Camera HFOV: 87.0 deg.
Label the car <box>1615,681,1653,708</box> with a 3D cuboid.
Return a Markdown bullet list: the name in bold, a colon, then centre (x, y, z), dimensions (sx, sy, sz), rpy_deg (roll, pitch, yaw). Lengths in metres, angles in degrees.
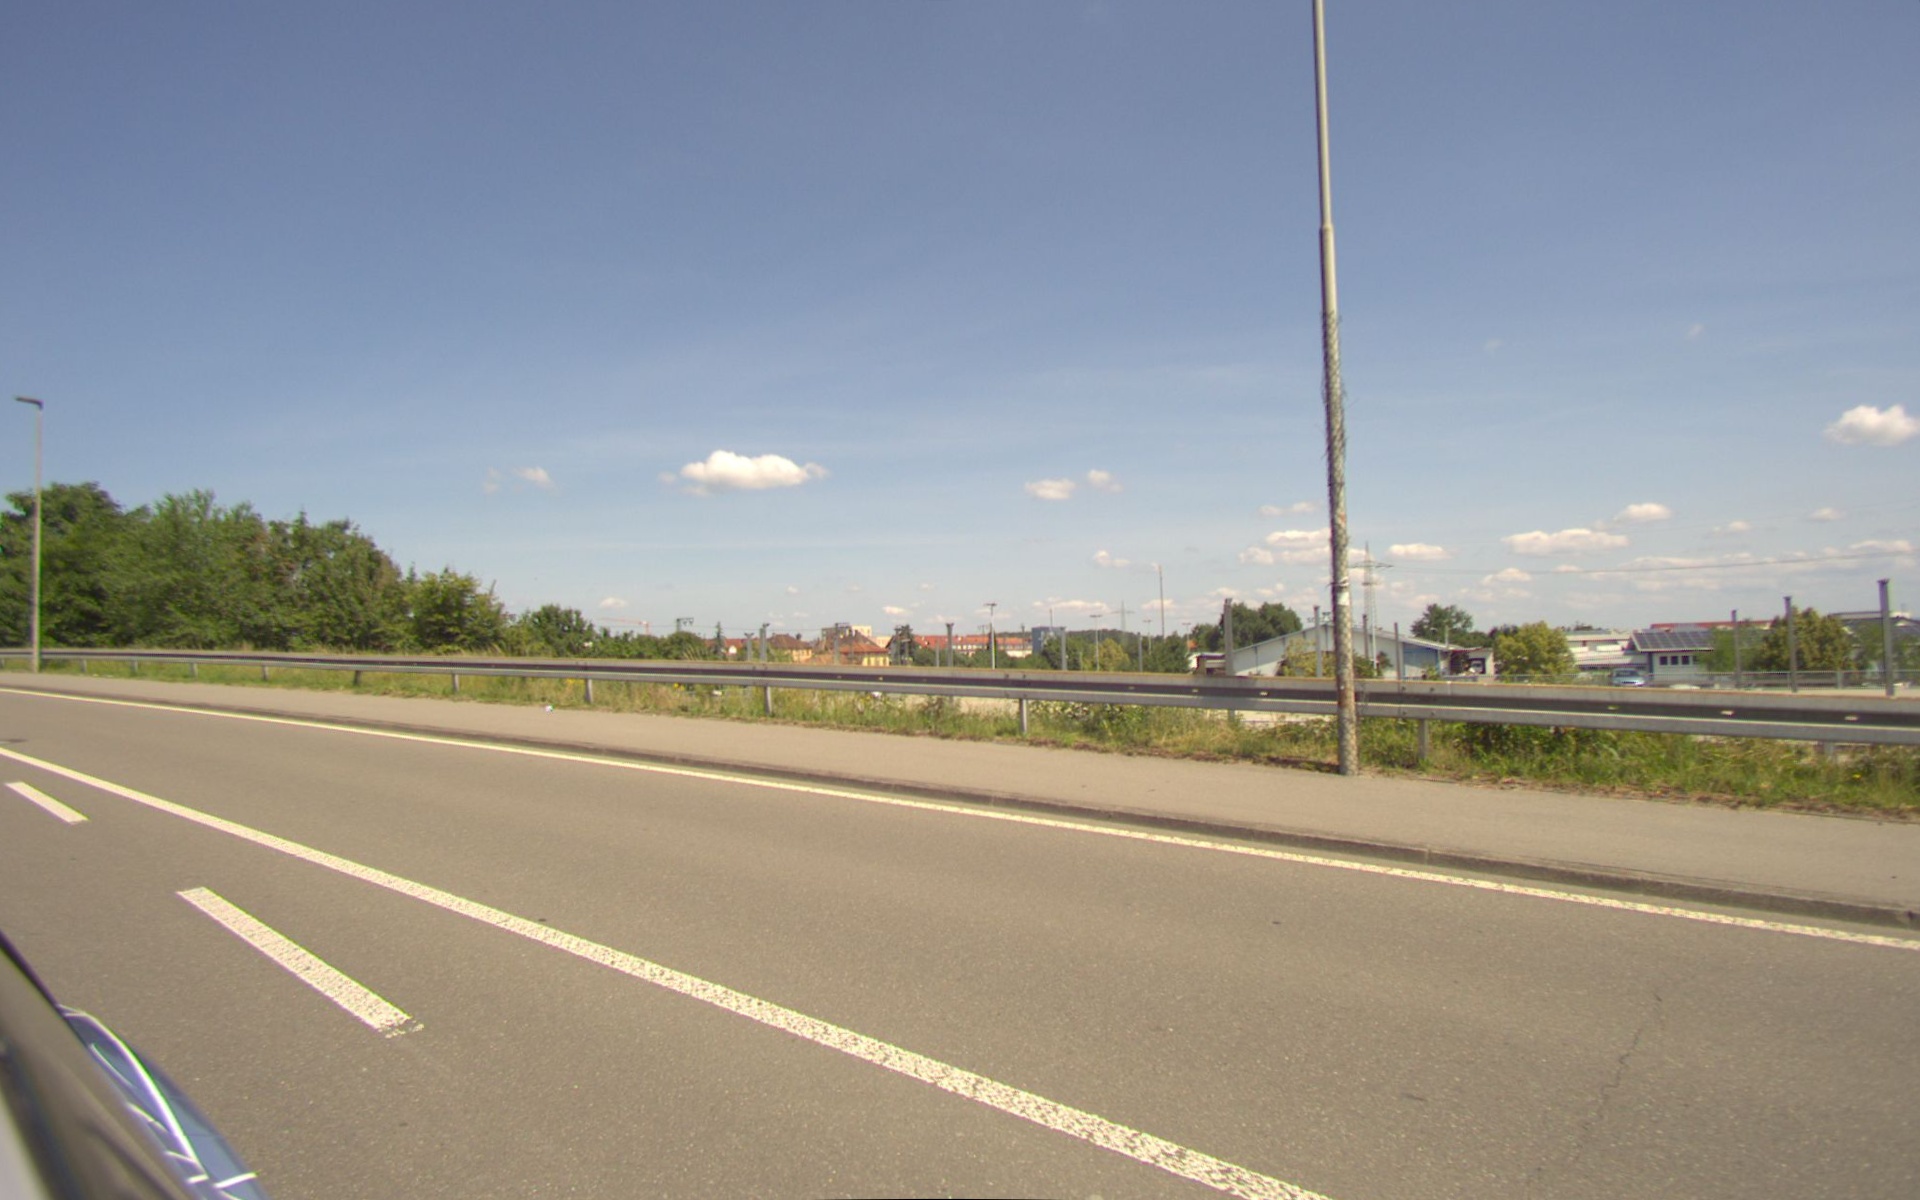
- **car**: centre (42.375, 5.925, 63.668), dimensions (1.688, 1.401, 3.771), rpy_deg (-5, -4, 31)
